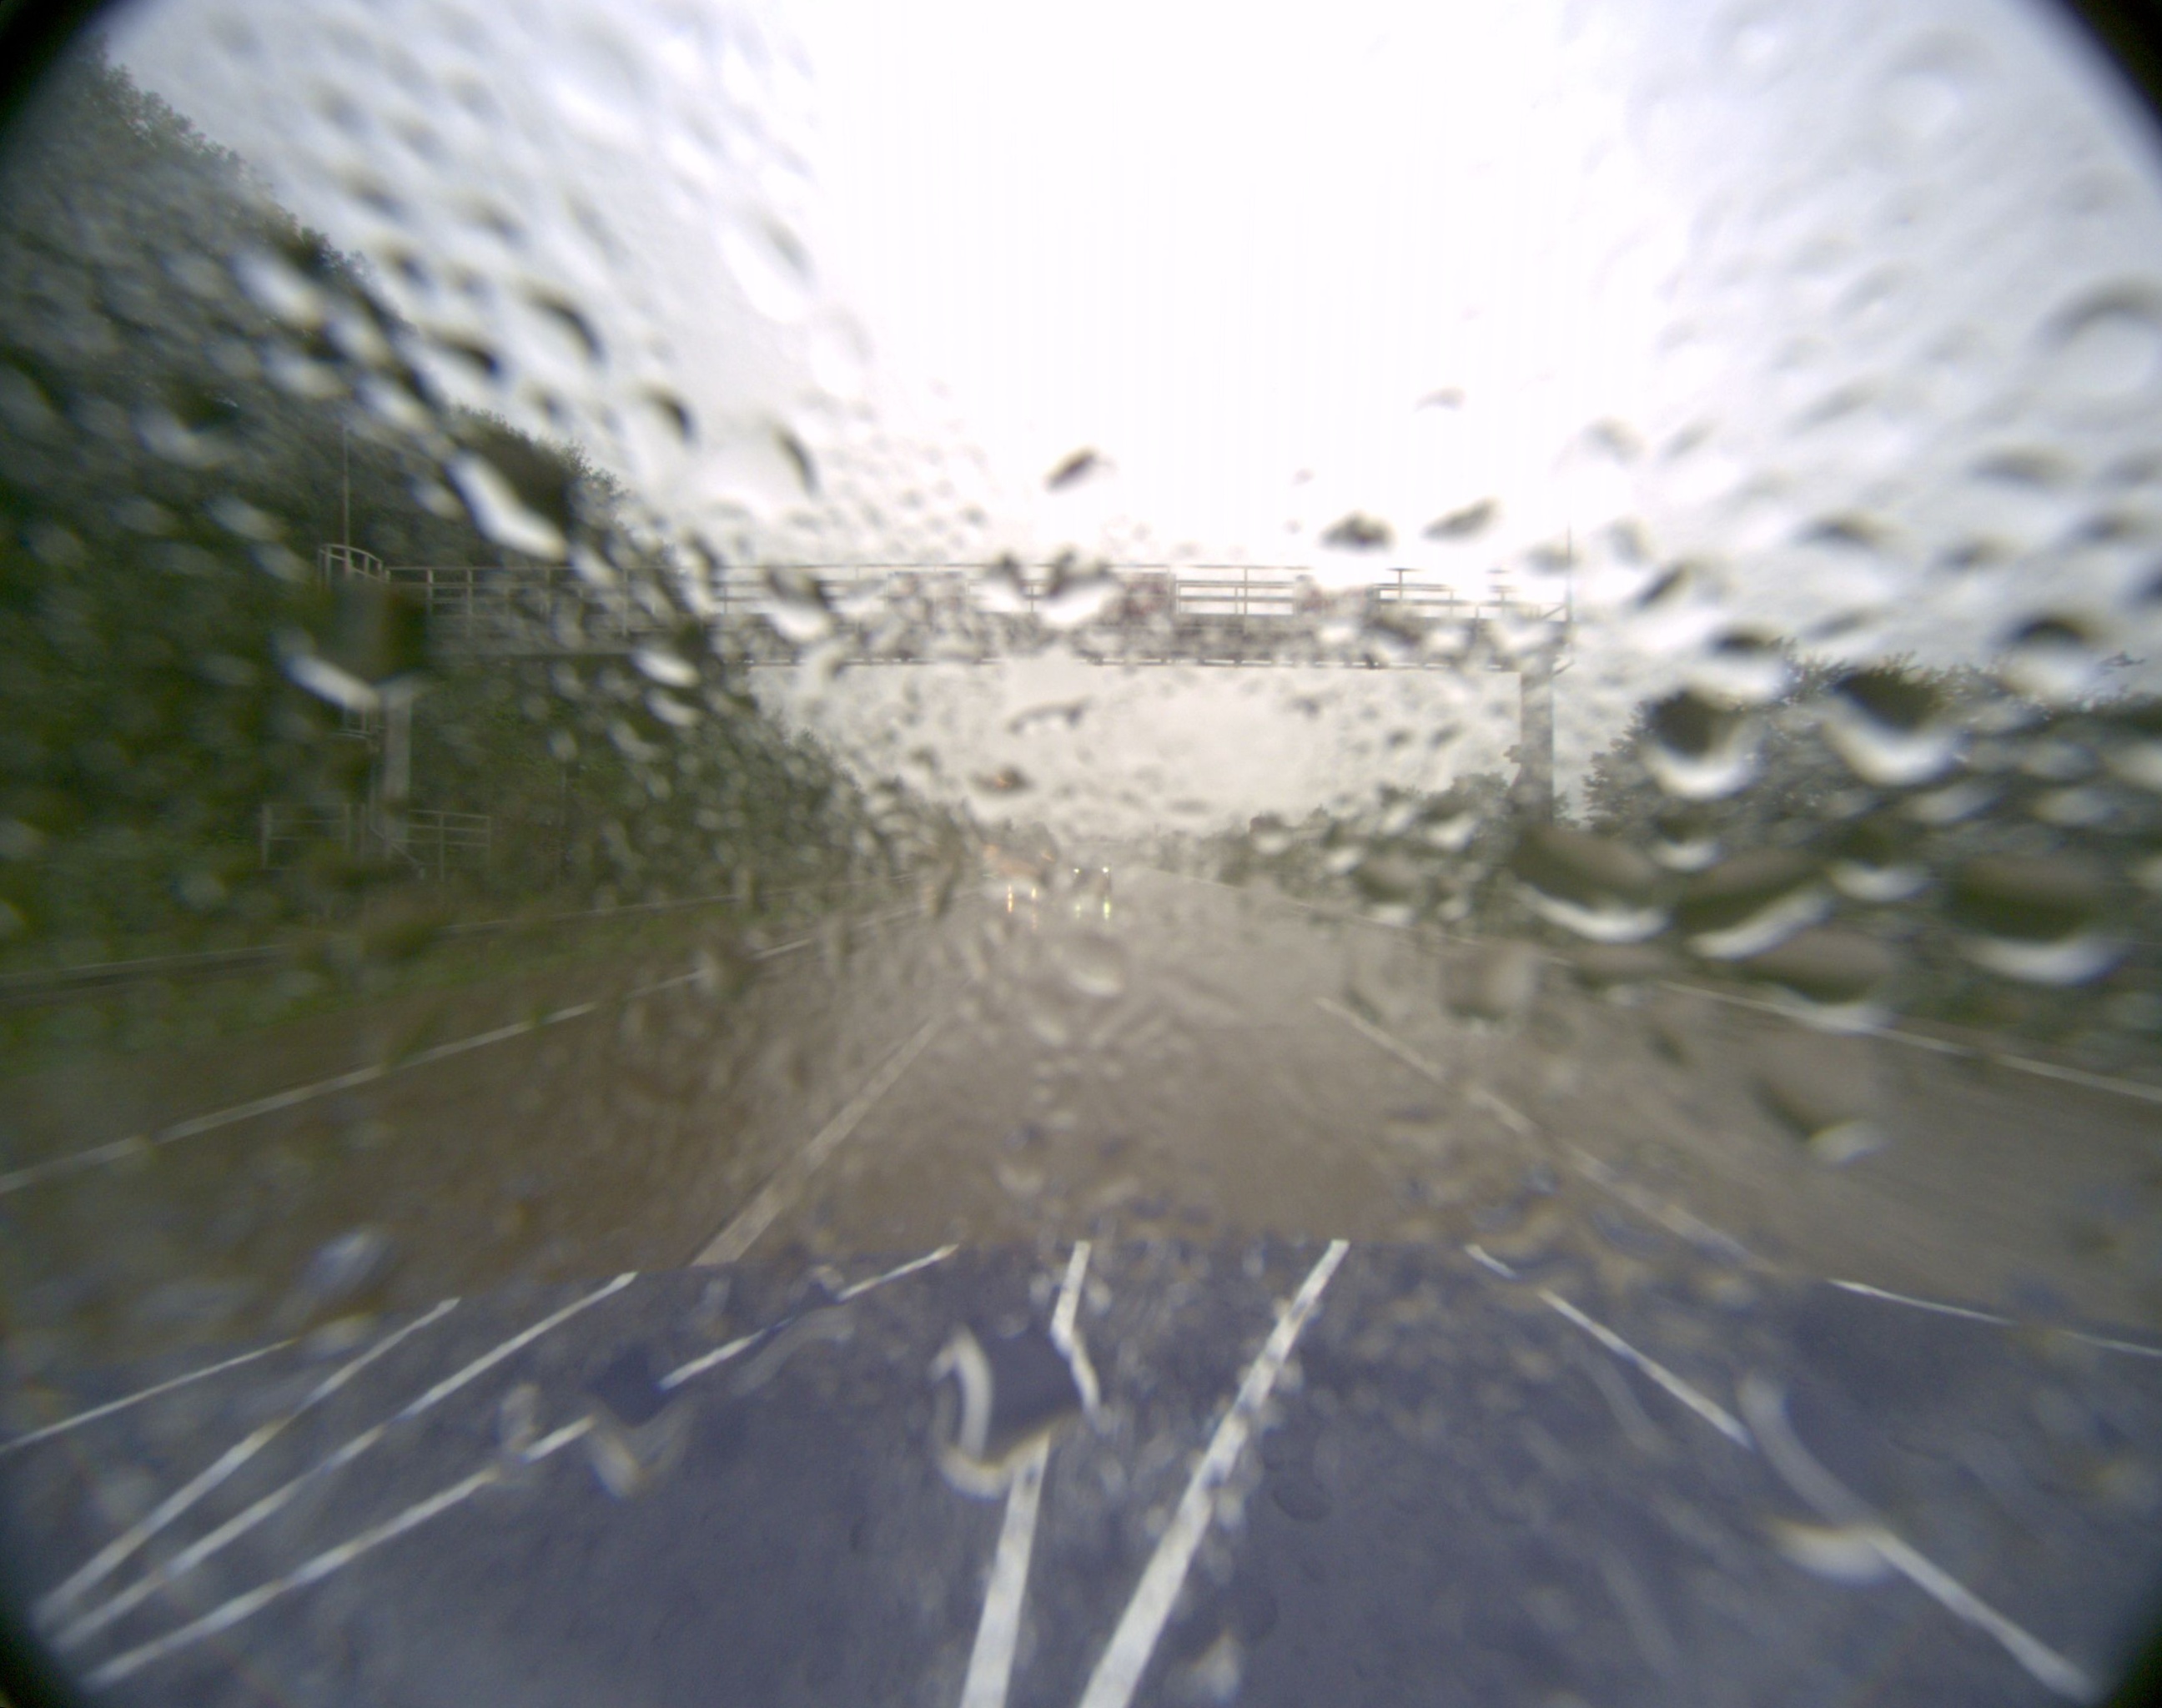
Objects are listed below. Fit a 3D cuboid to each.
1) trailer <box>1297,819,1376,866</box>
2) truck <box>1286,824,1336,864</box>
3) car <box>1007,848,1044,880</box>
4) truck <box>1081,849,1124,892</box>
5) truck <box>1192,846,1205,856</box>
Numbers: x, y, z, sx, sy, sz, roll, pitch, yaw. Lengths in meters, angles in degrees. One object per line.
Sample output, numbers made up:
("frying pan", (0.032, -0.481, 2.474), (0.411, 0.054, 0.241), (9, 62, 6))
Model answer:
("trailer", (22.331, -0.939, 67.433), (2.972, 3.653, 12.285), (-1, 0, 1))
("truck", (22.473, -0.961, 74.687), (2.928, 3.741, 6.951), (-1, 0, 1))
("car", (-3.582, 0.641, 49.841), (1.859, 2.002, 4.001), (-1, 0, 3))
("truck", (1.012, 0.765, 39.399), (1.998, 2.002, 7.575), (0, 0, 0))
("truck", (23.973, -0.553, 155.316), (2.017, 1.885, 4.741), (-1, 0, 1))
